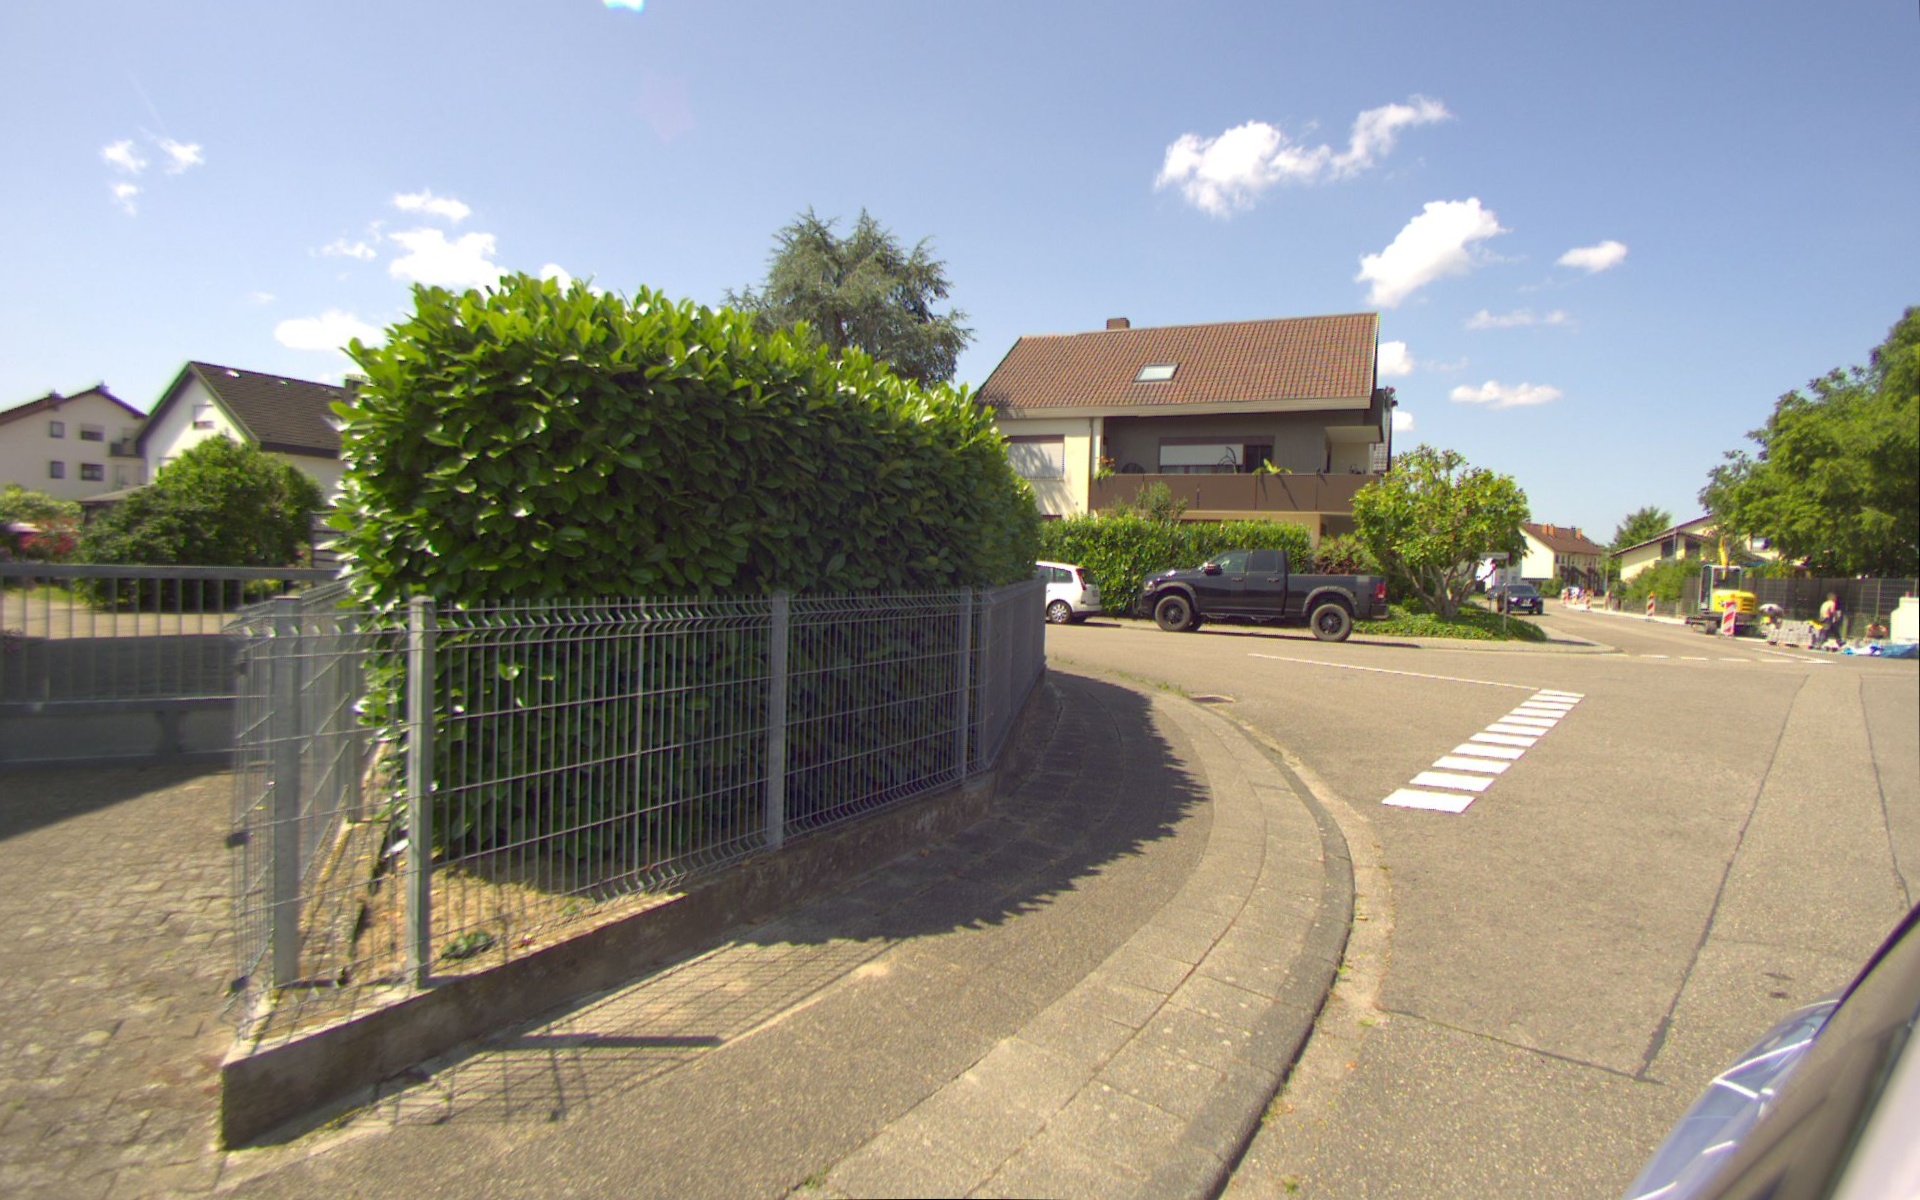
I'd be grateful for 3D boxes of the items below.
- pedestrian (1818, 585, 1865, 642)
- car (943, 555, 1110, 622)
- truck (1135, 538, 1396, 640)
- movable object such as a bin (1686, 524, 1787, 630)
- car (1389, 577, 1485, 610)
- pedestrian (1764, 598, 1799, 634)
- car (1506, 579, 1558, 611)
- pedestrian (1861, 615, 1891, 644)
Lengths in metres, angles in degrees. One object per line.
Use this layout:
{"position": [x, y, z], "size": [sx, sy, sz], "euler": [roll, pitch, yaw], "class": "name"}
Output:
{"position": [24.345, 0.355, 27.955], "size": [0.843, 1.533, 0.527], "euler": [2, 1, 29], "class": "pedestrian"}
{"position": [1.782, -0.340, 27.138], "size": [4.097, 1.582, 1.790], "euler": [3, 2, 23], "class": "car"}
{"position": [7.245, -0.268, 24.110], "size": [5.647, 2.040, 2.352], "euler": [2, -3, 23], "class": "truck"}
{"position": [28.140, -0.861, 36.816], "size": [1.980, 3.609, 3.783], "euler": [2, 2, 25], "class": "movable object such as a bin"}
{"position": [22.283, -0.352, 47.480], "size": [3.956, 1.358, 1.984], "euler": [3, 2, 24], "class": "car"}
{"position": [27.169, 0.531, 33.465], "size": [0.808, 1.183, 0.513], "euler": [1, 1, -16], "class": "pedestrian"}
{"position": [30.544, -0.304, 54.158], "size": [1.899, 1.561, 3.969], "euler": [3, 2, 23], "class": "car"}
{"position": [26.444, 0.846, 29.215], "size": [0.512, 0.803, 0.432], "euler": [0, 1, -23], "class": "pedestrian"}
